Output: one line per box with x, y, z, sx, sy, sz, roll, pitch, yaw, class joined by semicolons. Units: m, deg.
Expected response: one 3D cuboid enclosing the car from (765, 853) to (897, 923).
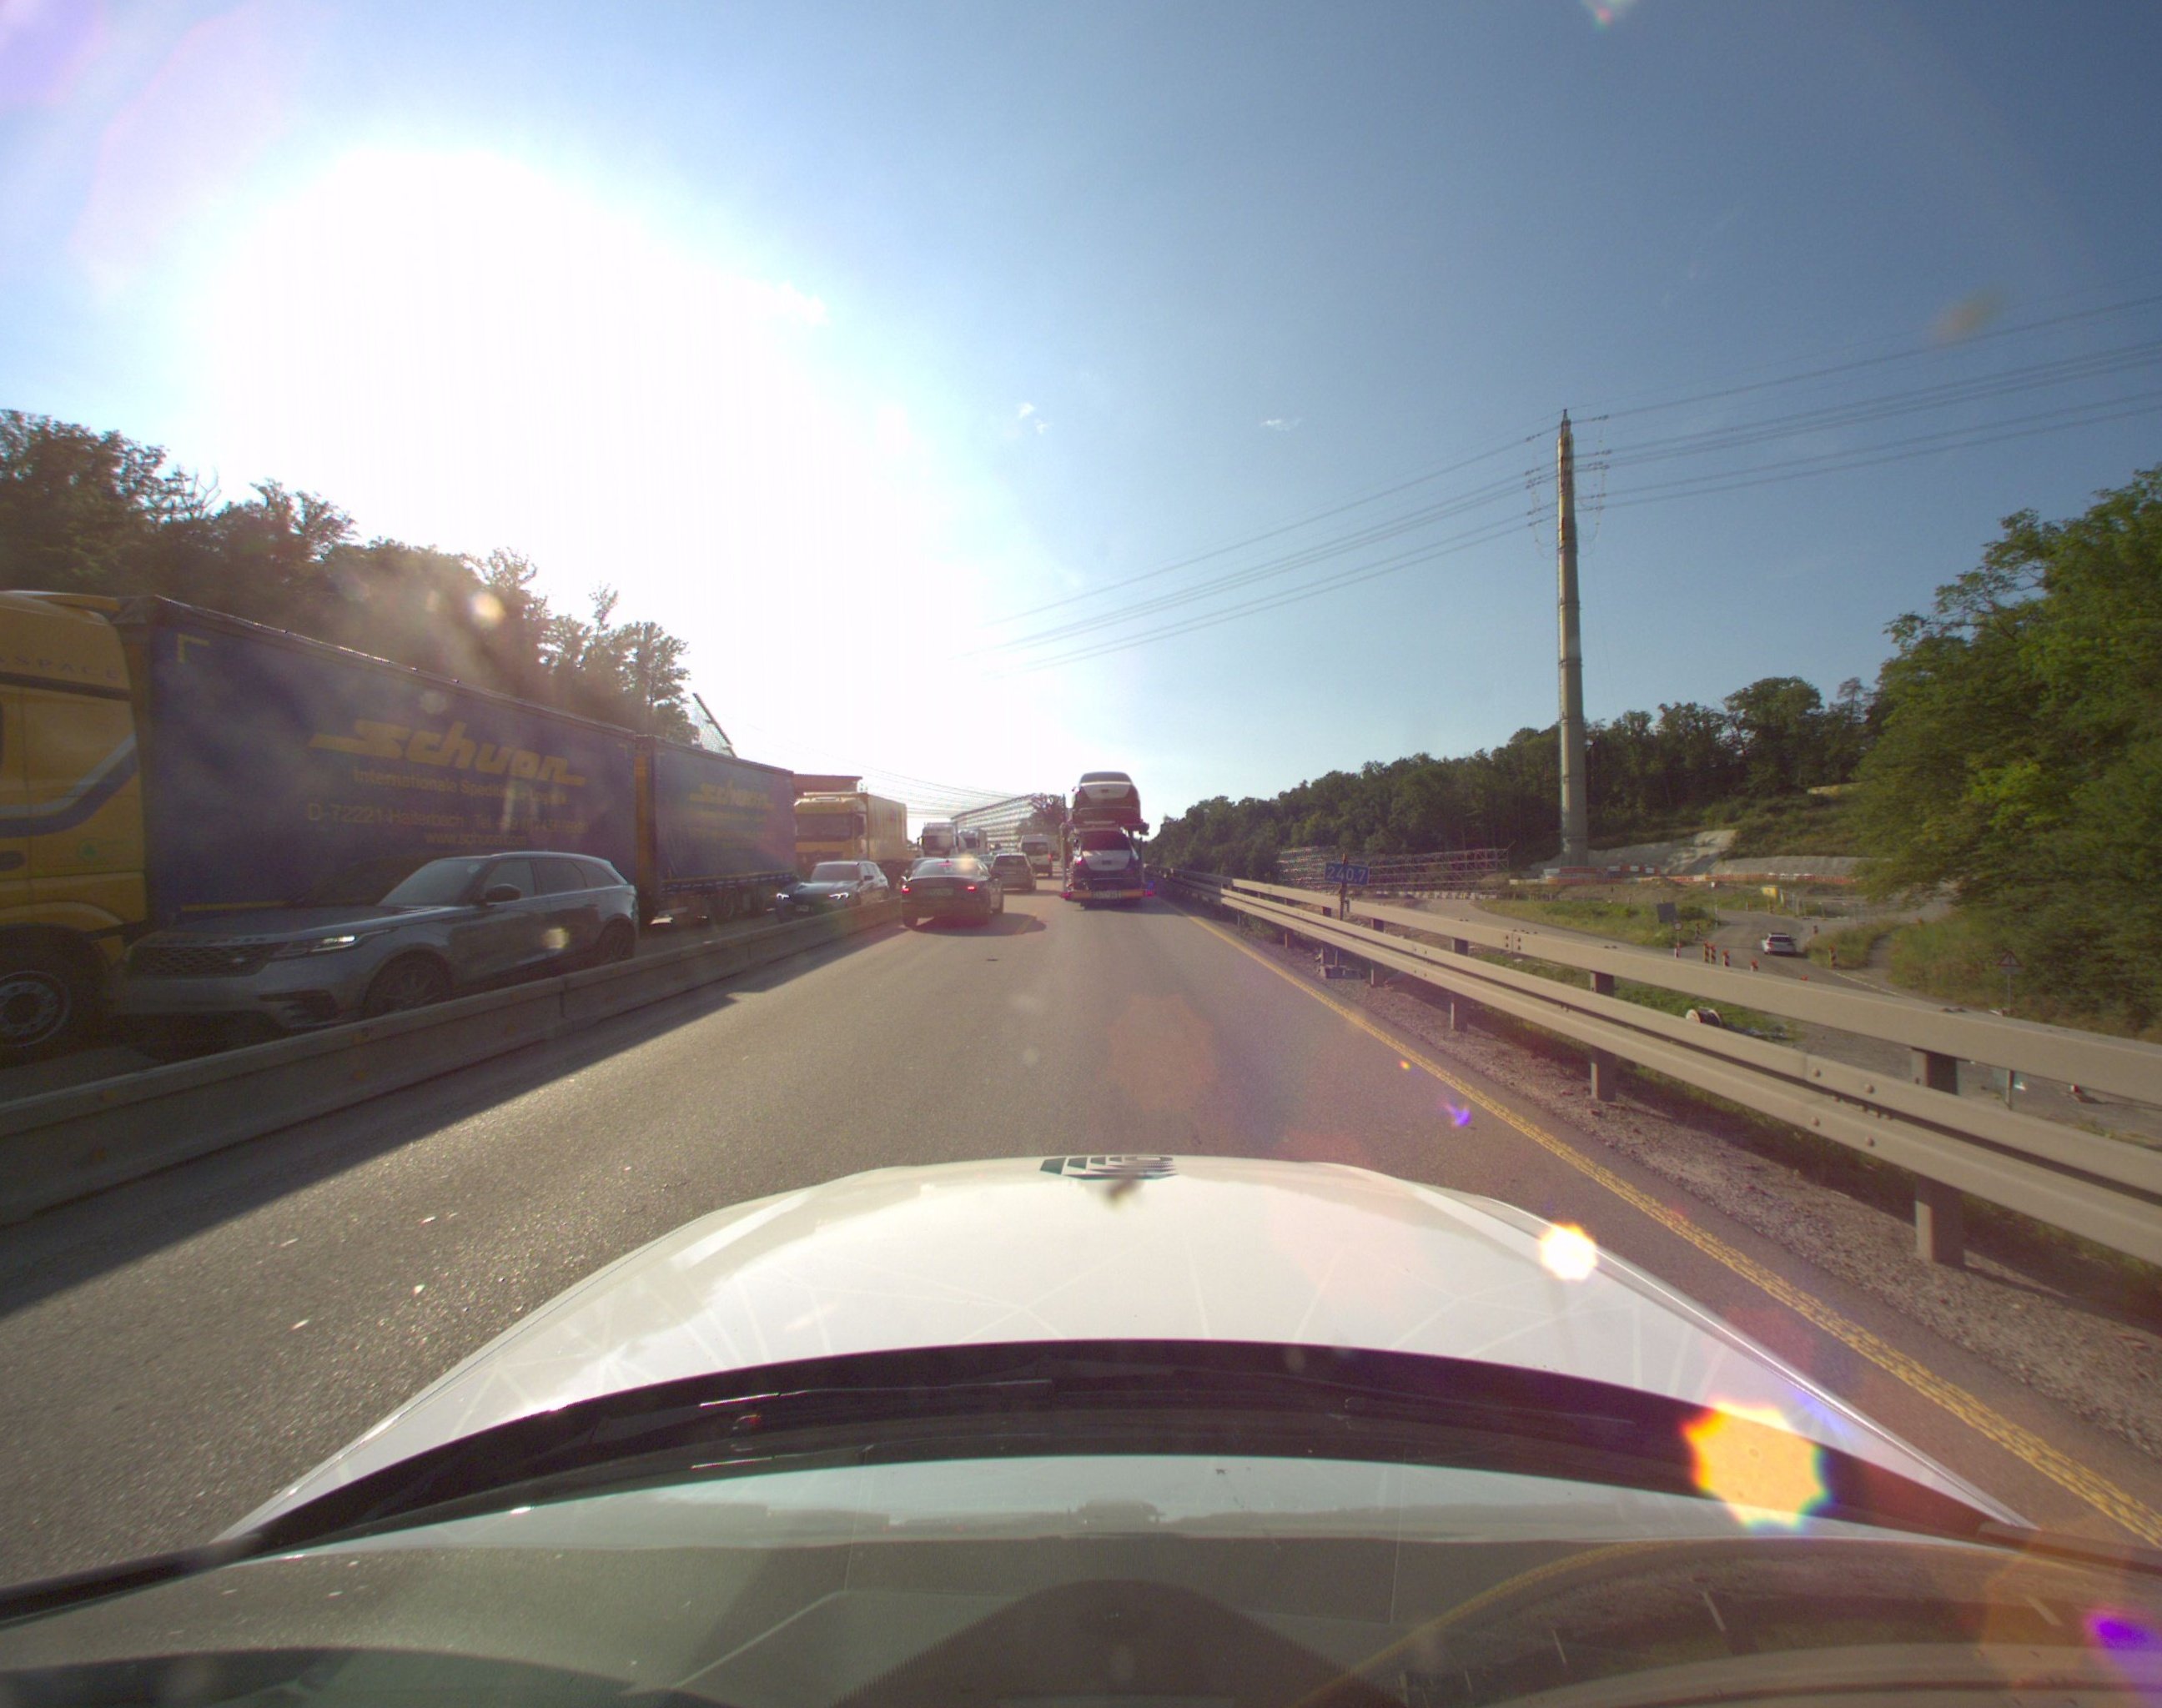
-6.105;0.788;20.516;1.782;1.497;4.724;-2;-1;1;car

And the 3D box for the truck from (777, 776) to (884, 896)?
-9.439;-0.626;31.205;2.686;4.197;4.396;-2;-1;-1;truck

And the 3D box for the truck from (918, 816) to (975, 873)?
-10.277;-0.550;63.666;2.802;3.970;13.877;-1;-1;-3;truck

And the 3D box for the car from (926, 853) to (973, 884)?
-6.861;0.765;42.912;1.711;1.508;4.290;-2;-1;0;car

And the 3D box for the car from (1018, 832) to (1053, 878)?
-2.797;0.065;50.801;1.974;2.684;4.143;-2;-1;-2;car

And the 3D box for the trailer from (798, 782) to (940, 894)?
-9.528;-0.505;39.201;2.693;4.204;15.990;-2;-1;-1;trailer

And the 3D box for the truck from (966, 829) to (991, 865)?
-12.879;-0.852;102.669;2.889;4.272;5.760;-2;-1;-5;truck

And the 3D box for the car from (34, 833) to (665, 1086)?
-6.320;0.768;8.043;1.920;1.701;4.691;-2;-1;1;car

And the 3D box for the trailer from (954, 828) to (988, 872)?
-11.361;-0.304;85.244;2.448;4.266;12.129;-2;-1;-3;trailer

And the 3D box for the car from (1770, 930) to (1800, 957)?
49.819;6.281;57.586;1.511;1.461;4.294;-3;-1;41;car

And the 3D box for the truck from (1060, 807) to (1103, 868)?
-0.038;-1.328;69.529;3.219;4.676;11.691;-1;1;-1;truck

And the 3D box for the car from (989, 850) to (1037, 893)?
-2.707;0.694;33.155;1.696;1.587;4.144;-2;-1;-2;car

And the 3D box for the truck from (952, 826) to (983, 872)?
-11.077;-0.393;79.902;2.439;4.272;6.313;-2;-1;-3;truck

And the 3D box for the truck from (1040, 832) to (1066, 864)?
-4.171;-0.938;125.742;3.637;4.676;11.691;-1;1;-1;truck

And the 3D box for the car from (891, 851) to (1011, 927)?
-2.888;0.740;19.229;1.934;1.480;5.221;-2;-1;0;car

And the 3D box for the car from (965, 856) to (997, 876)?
-7.314;0.893;59.856;1.734;1.402;4.900;-2;-1;-1;car

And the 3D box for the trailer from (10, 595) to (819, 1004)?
-9.583;-0.453;16.774;2.705;4.135;16.751;-2;-1;1;trailer

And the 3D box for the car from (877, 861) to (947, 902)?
-6.546;1.043;32.001;1.791;1.453;4.614;-2;-1;0;car

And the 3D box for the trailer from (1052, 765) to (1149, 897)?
0.506;-0.601;32.781;2.866;3.994;15.272;-2;-1;-1;trailer

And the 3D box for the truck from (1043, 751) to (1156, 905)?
0.627;-0.642;24.453;2.858;3.980;5.775;-2;-1;3;truck

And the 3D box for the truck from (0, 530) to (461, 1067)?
-9.642;-0.377;7.908;2.692;4.141;5.794;-2;-1;0;truck

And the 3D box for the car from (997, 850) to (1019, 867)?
-7.218;0.462;81.076;1.841;1.647;4.557;-2;-1;-1;car
